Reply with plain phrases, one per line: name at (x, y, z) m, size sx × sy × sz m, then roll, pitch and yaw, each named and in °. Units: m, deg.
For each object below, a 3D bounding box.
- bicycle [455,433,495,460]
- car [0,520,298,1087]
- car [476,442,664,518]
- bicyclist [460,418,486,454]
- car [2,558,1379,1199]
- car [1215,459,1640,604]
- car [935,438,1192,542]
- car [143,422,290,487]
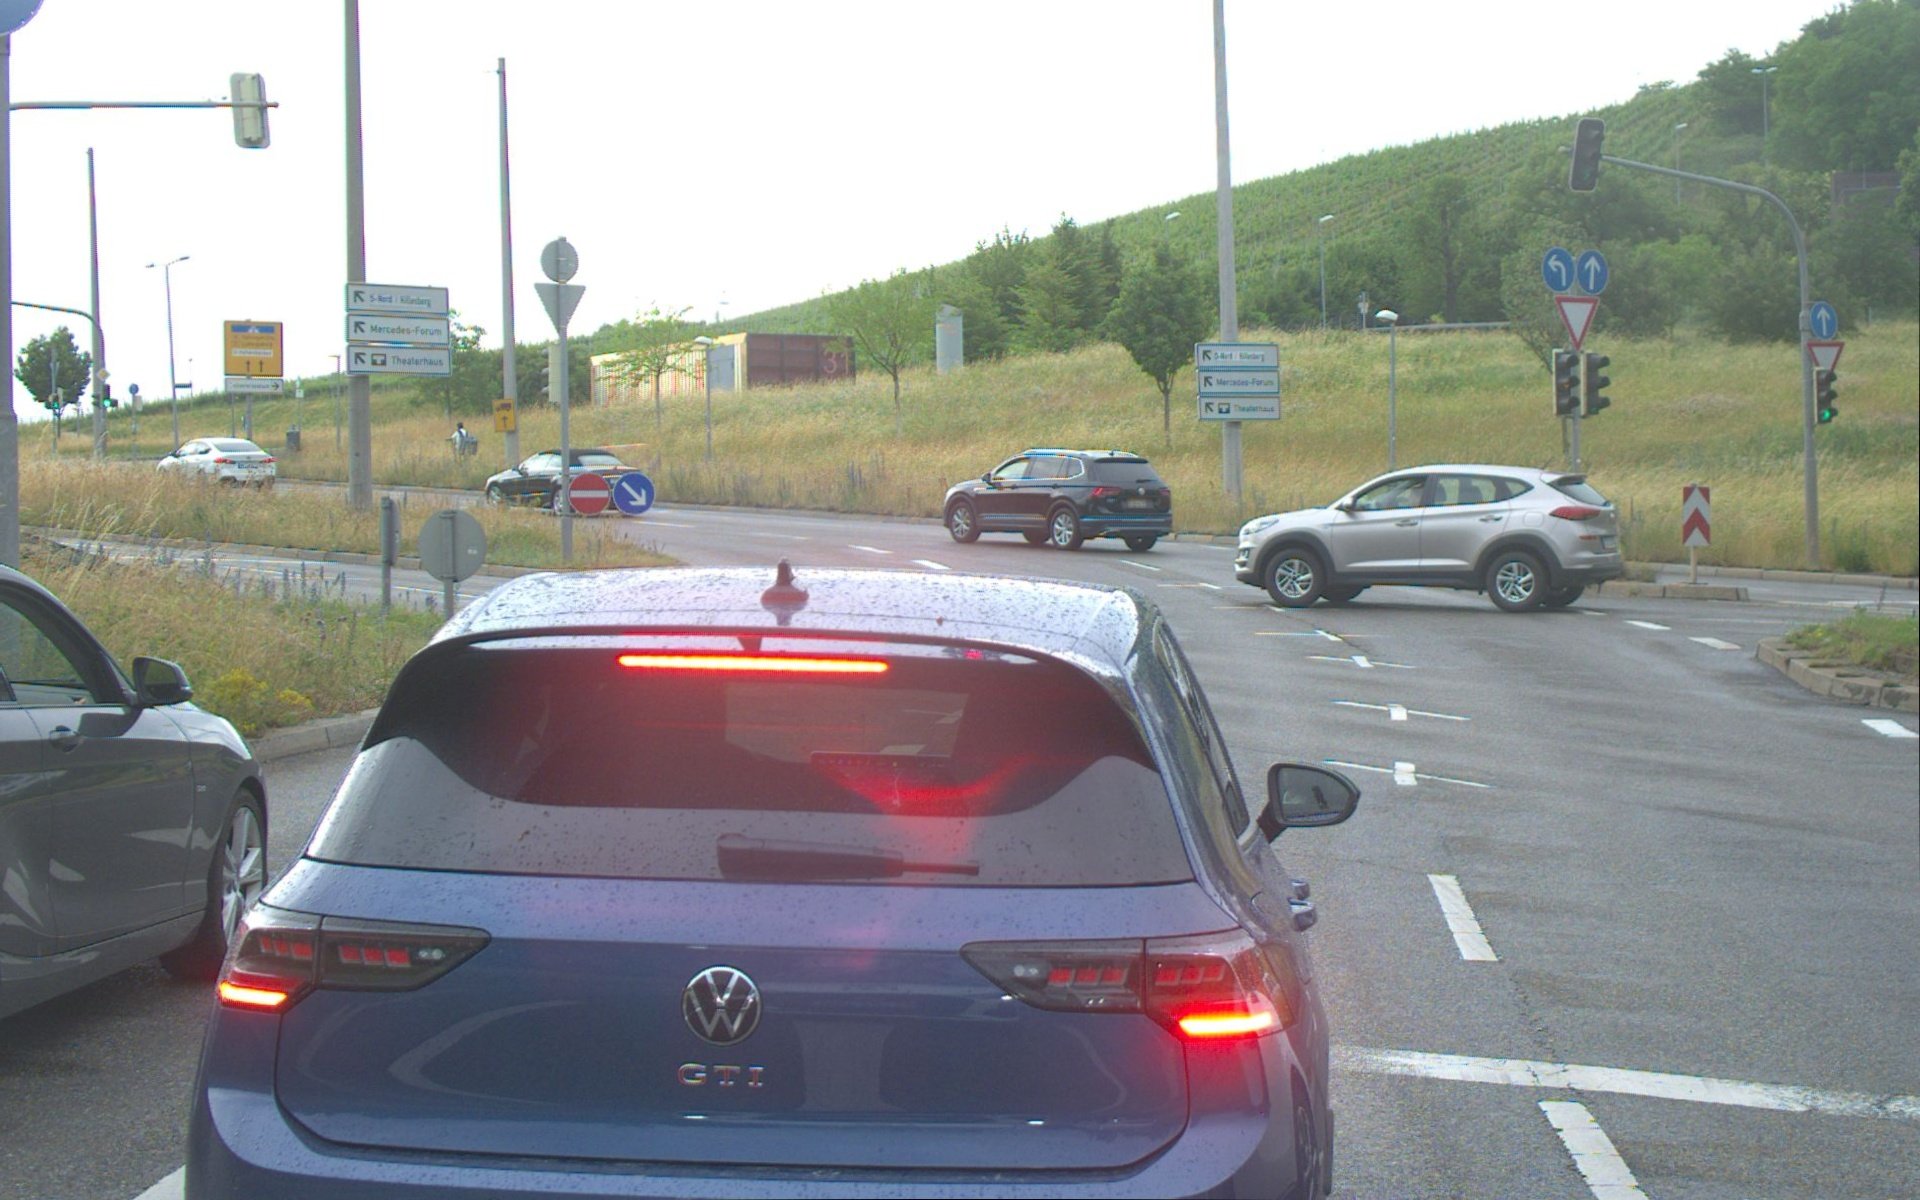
bicycle at (-14.710, -4.654, 104.218) m, size 0.518 × 0.772 × 1.621 m, roll 2°, pitch 1°, yaw -33°
car at (-3.253, 0.515, 9.687) m, size 1.703 × 1.455 × 4.113 m, roll 0°, pitch 0°, yaw 4°
car at (-8.255, -2.499, 72.514) m, size 1.994 × 1.472 × 4.502 m, roll 1°, pitch 0°, yaw -36°
bicyclist at (-14.768, -4.981, 104.310) m, size 0.523 × 1.043 × 0.580 m, roll 3°, pitch 1°, yaw -32°
car at (-0.213, 0.664, 6.421) m, size 1.825 × 1.455 × 3.808 m, roll 0°, pitch 1°, yaw 5°
car at (5.458, -0.789, 40.200) m, size 4.516 × 1.615 × 1.997 m, roll 1°, pitch 0°, yaw 27°
car at (1.698, -1.819, 57.941) m, size 1.994 × 1.631 × 4.420 m, roll 1°, pitch 0°, yaw -37°
car at (-19.015, -3.694, 87.817) m, size 1.994 × 1.472 × 4.420 m, roll 1°, pitch 0°, yaw -37°
